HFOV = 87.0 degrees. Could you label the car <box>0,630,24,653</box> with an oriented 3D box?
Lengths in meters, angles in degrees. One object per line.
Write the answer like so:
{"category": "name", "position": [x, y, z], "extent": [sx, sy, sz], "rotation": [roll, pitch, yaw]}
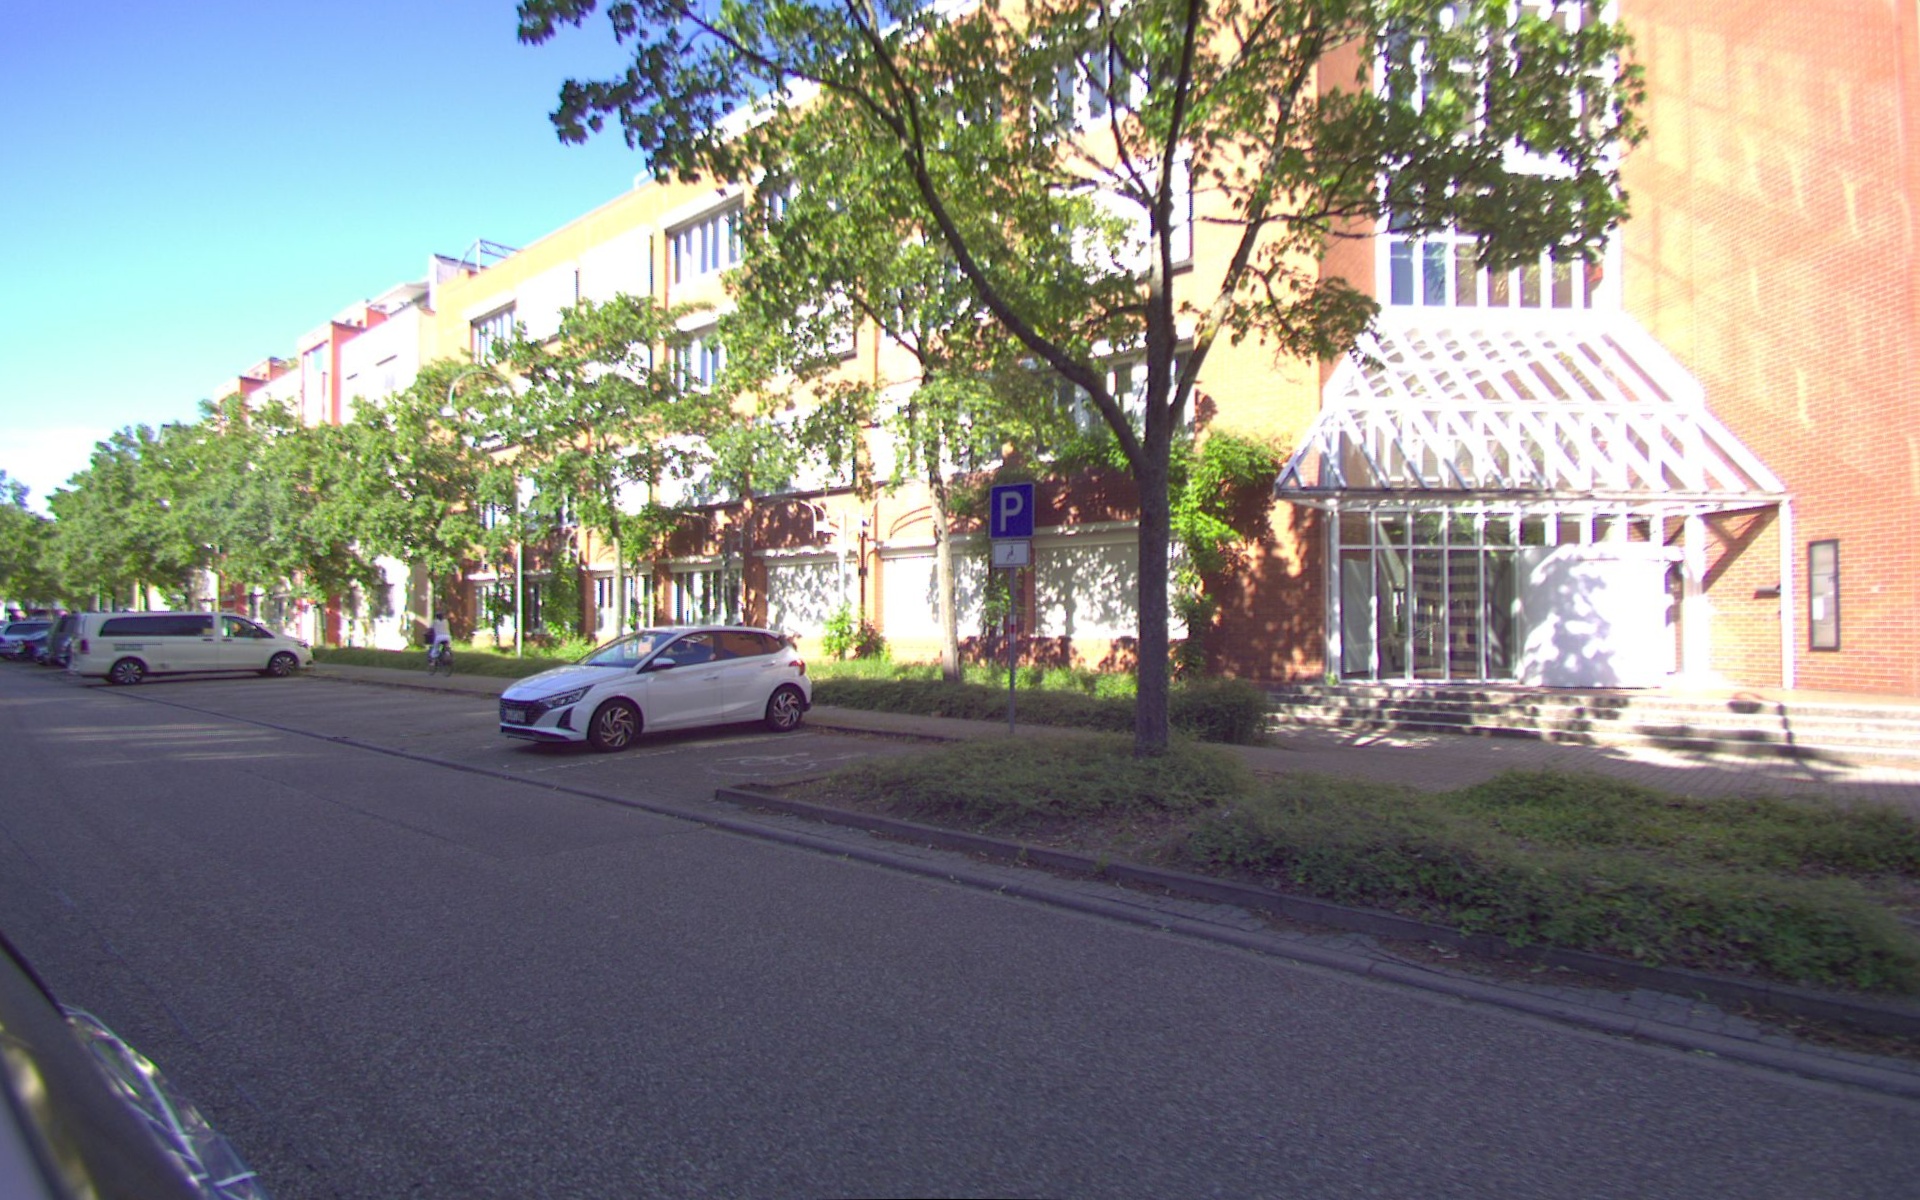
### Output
{"category": "car", "position": [-61.794, 2.634, 63.689], "extent": [1.740, 1.434, 4.214], "rotation": [-2, -1, 45]}

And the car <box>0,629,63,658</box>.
{"category": "car", "position": [-50.629, 2.323, 54.139], "extent": [1.873, 1.458, 3.691], "rotation": [-2, -1, 37]}

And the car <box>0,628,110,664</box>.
{"category": "car", "position": [-41.255, 2.039, 45.526], "extent": [1.771, 1.438, 4.359], "rotation": [-2, -1, 39]}

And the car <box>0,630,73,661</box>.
{"category": "car", "position": [-48.791, 2.360, 52.648], "extent": [1.857, 1.458, 3.691], "rotation": [-2, -1, 37]}

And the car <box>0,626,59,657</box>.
{"category": "car", "position": [-52.562, 2.309, 56.014], "extent": [1.858, 1.586, 3.852], "rotation": [-2, -1, 41]}

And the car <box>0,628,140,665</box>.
{"category": "car", "position": [-37.528, 1.945, 42.736], "extent": [1.756, 1.369, 4.277], "rotation": [-2, -1, 40]}

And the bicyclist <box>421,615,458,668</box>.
{"category": "bicyclist", "position": [-13.525, 1.070, 26.281], "extent": [0.598, 1.363, 0.913], "rotation": [2, -3, -45]}

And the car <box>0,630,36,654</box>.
{"category": "car", "position": [-58.213, 2.548, 60.783], "extent": [1.739, 1.434, 3.851], "rotation": [-2, -1, 41]}

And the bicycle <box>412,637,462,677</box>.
{"category": "bicycle", "position": [-13.643, 1.467, 26.380], "extent": [0.598, 0.989, 1.865], "rotation": [2, -3, -45]}

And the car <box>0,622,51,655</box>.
{"category": "car", "position": [-54.421, 2.215, 57.552], "extent": [1.785, 1.825, 3.851], "rotation": [-2, -1, 41]}

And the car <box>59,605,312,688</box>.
{"category": "car", "position": [-20.879, 1.169, 27.490], "extent": [1.942, 1.982, 5.201], "rotation": [-2, -1, 42]}

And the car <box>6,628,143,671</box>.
{"category": "car", "position": [-33.934, 1.861, 38.847], "extent": [1.722, 1.438, 3.692], "rotation": [-2, -1, 37]}

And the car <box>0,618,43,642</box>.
{"category": "car", "position": [-82.709, 2.616, 87.470], "extent": [1.983, 2.000, 4.743], "rotation": [-2, -2, 18]}

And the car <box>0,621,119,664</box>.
{"category": "car", "position": [-39.500, 1.818, 44.107], "extent": [4.270, 1.730, 1.964], "rotation": [-1, -1, -44]}

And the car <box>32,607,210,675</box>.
{"category": "car", "position": [-28.530, 1.345, 34.511], "extent": [2.083, 2.105, 4.439], "rotation": [-2, -1, 43]}

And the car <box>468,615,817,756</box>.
{"category": "car", "position": [-3.915, 0.961, 12.980], "extent": [1.805, 1.497, 3.946], "rotation": [-2, -1, 40]}

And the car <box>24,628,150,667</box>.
{"category": "car", "position": [-35.439, 1.890, 41.134], "extent": [1.724, 1.438, 3.688], "rotation": [-2, -1, 40]}

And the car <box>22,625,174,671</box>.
{"category": "car", "position": [-31.906, 1.734, 37.546], "extent": [1.724, 1.539, 4.089], "rotation": [-2, -1, 41]}

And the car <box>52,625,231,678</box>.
{"category": "car", "position": [-26.363, 1.603, 32.698], "extent": [1.943, 1.489, 4.273], "rotation": [-2, -1, 43]}
